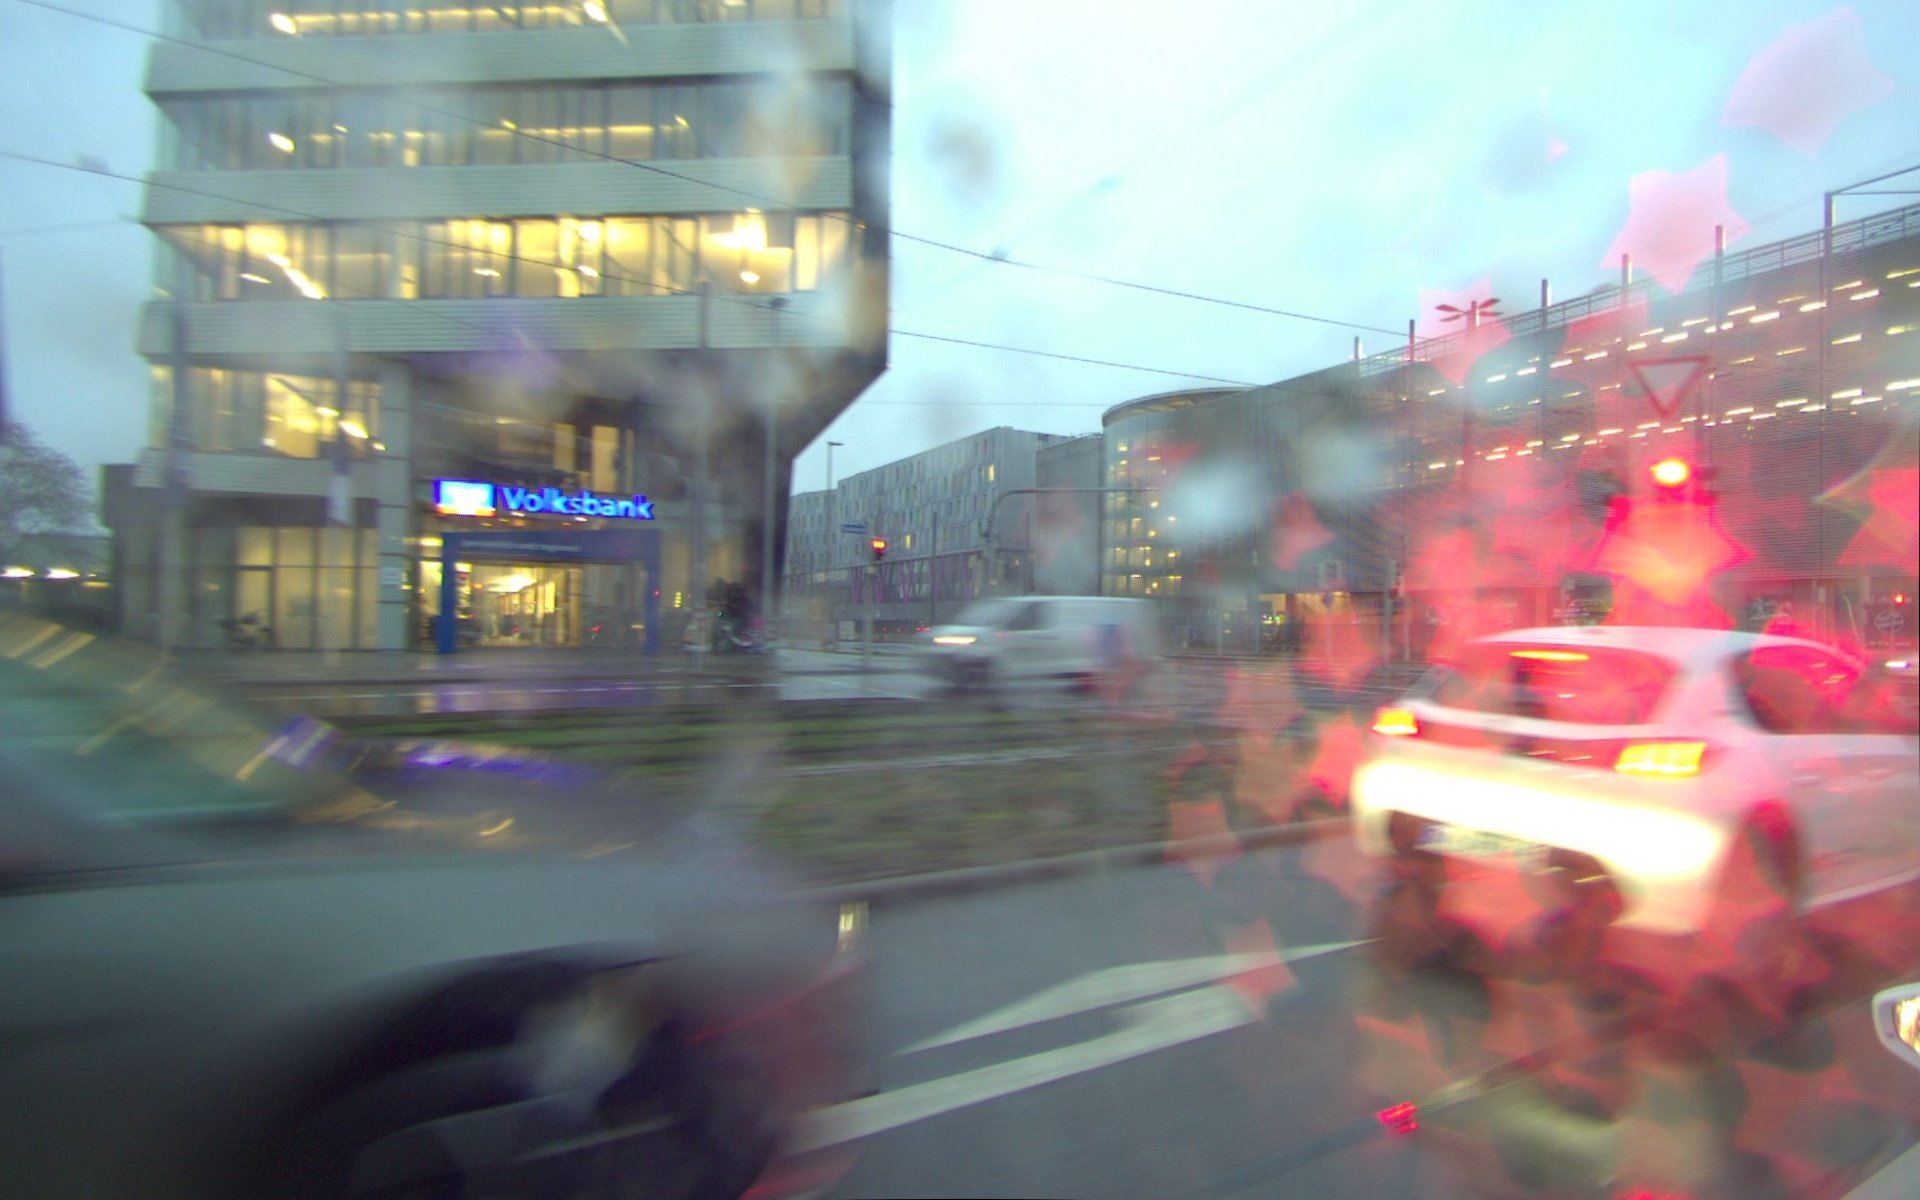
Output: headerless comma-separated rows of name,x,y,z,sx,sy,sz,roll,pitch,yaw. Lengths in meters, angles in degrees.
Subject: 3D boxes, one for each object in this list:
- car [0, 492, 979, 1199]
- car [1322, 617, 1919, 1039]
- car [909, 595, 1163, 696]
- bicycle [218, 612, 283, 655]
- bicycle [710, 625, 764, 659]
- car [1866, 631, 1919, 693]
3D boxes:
car,-2.268,0.653,1.760,4.311,1.591,1.812,2,-2,-31
car,3.919,0.872,5.361,3.874,1.483,1.748,2,-1,-32
car,1.557,0.933,20.676,4.888,1.896,1.896,1,-1,-21
bicycle,-19.470,0.928,27.600,0.518,1.142,1.499,1,-1,10
bicycle,-7.208,1.347,32.489,1.581,1.084,0.638,1,-1,-28
car,25.592,1.564,25.050,4.254,1.505,1.867,1,-1,2
